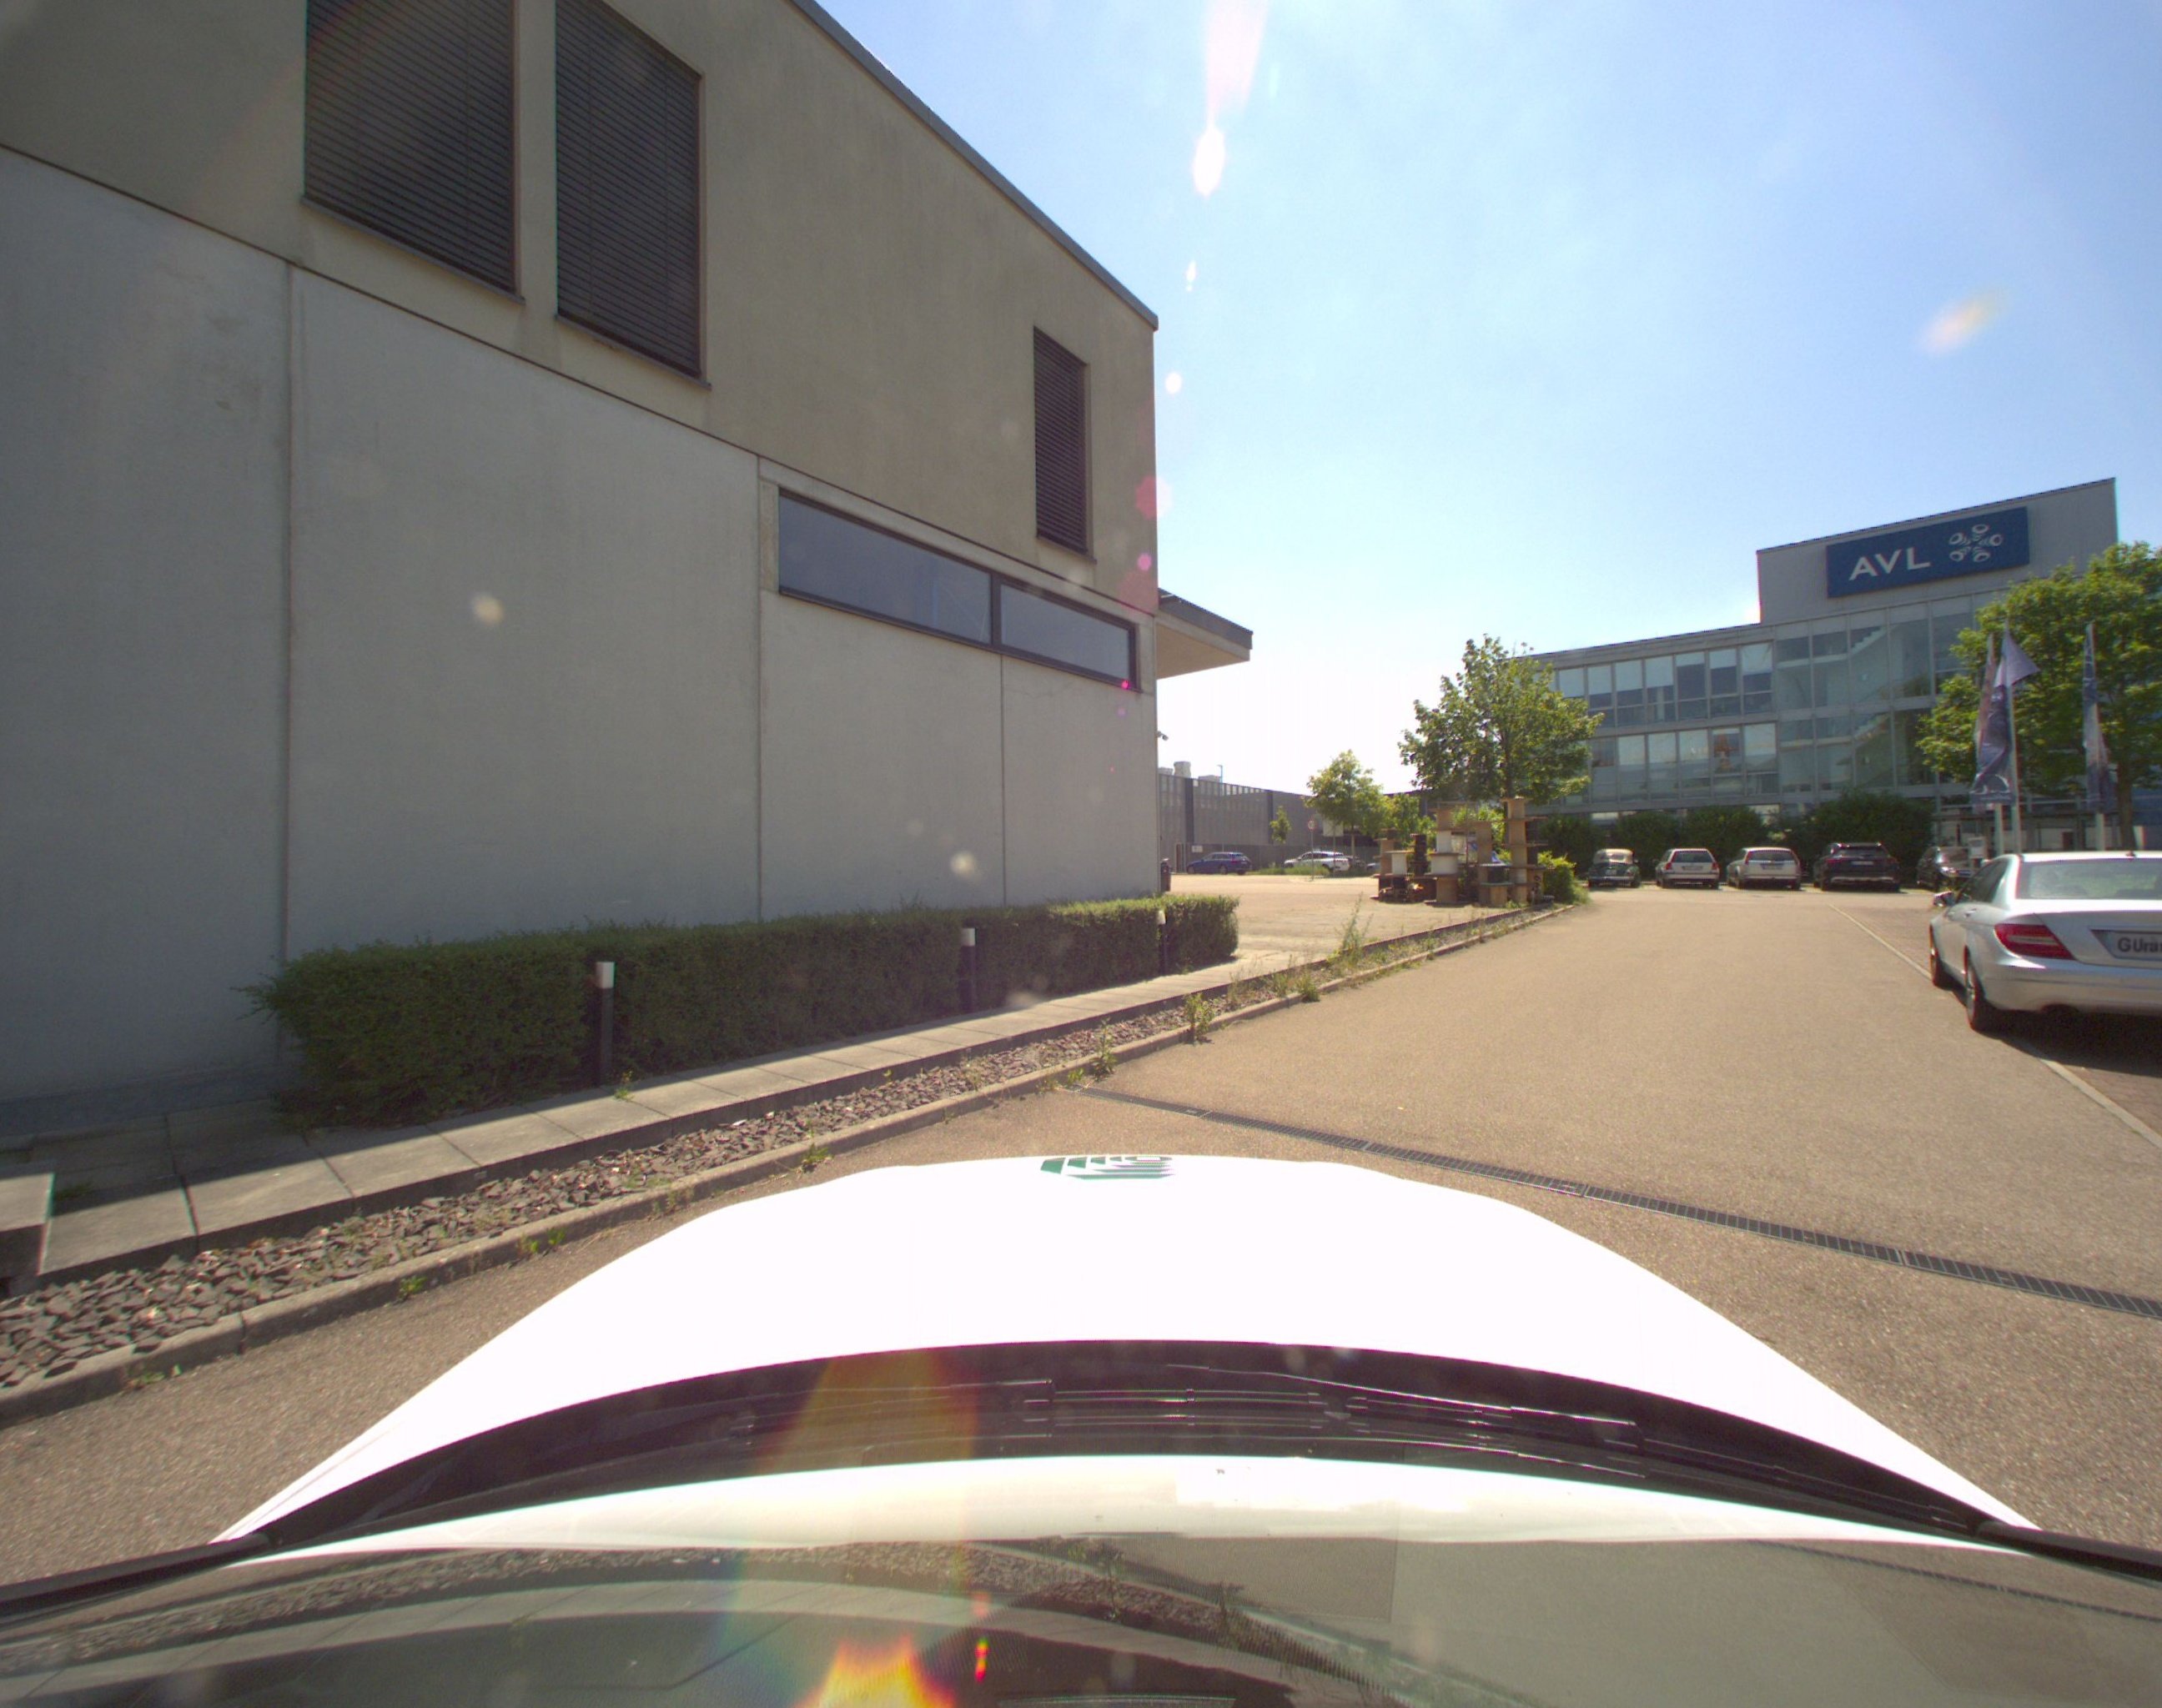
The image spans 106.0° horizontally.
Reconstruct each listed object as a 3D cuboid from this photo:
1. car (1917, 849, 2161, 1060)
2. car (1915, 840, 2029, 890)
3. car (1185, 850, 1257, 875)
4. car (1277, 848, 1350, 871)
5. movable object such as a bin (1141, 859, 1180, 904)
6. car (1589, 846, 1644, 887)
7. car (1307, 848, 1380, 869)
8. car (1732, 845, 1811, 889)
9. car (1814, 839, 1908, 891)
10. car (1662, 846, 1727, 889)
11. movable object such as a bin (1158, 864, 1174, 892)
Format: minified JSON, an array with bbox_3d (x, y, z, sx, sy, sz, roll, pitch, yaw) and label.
[{"bbox_3d":[8.658,0.662,6.994,1.782,1.398,4.446,-2,-1,43],"label":"car"},{"bbox_3d":[28.561,0.313,26.249,1.752,1.482,4.286,-2,0,38],"label":"car"},{"bbox_3d":[8.959,0.511,52.432,2.009,1.491,4.465,-1,1,-36],"label":"car"},{"bbox_3d":[16.649,0.386,58.599,2.009,1.491,4.801,-1,1,-36],"label":"car"},{"bbox_3d":[2.455,0.838,25.217,0.889,1.345,0.803,0,-1,-45],"label":"movable object such as a bin"},{"bbox_3d":[20.883,0.440,31.706,1.526,1.449,3.677,0,1,37],"label":"car"},{"bbox_3d":[19.329,0.319,60.136,2.009,1.491,4.801,-1,1,-36],"label":"car"},{"bbox_3d":[24.798,0.416,29.360,1.748,1.449,3.677,0,1,34],"label":"car"},{"bbox_3d":[26.519,0.321,27.805,1.908,1.610,4.012,0,1,38],"label":"car"},{"bbox_3d":[22.764,0.454,30.310,1.715,1.449,3.677,0,1,34],"label":"car"},{"bbox_3d":[3.129,0.886,30.066,0.574,1.036,0.426,-1,-1,6],"label":"movable object such as a bin"}]
